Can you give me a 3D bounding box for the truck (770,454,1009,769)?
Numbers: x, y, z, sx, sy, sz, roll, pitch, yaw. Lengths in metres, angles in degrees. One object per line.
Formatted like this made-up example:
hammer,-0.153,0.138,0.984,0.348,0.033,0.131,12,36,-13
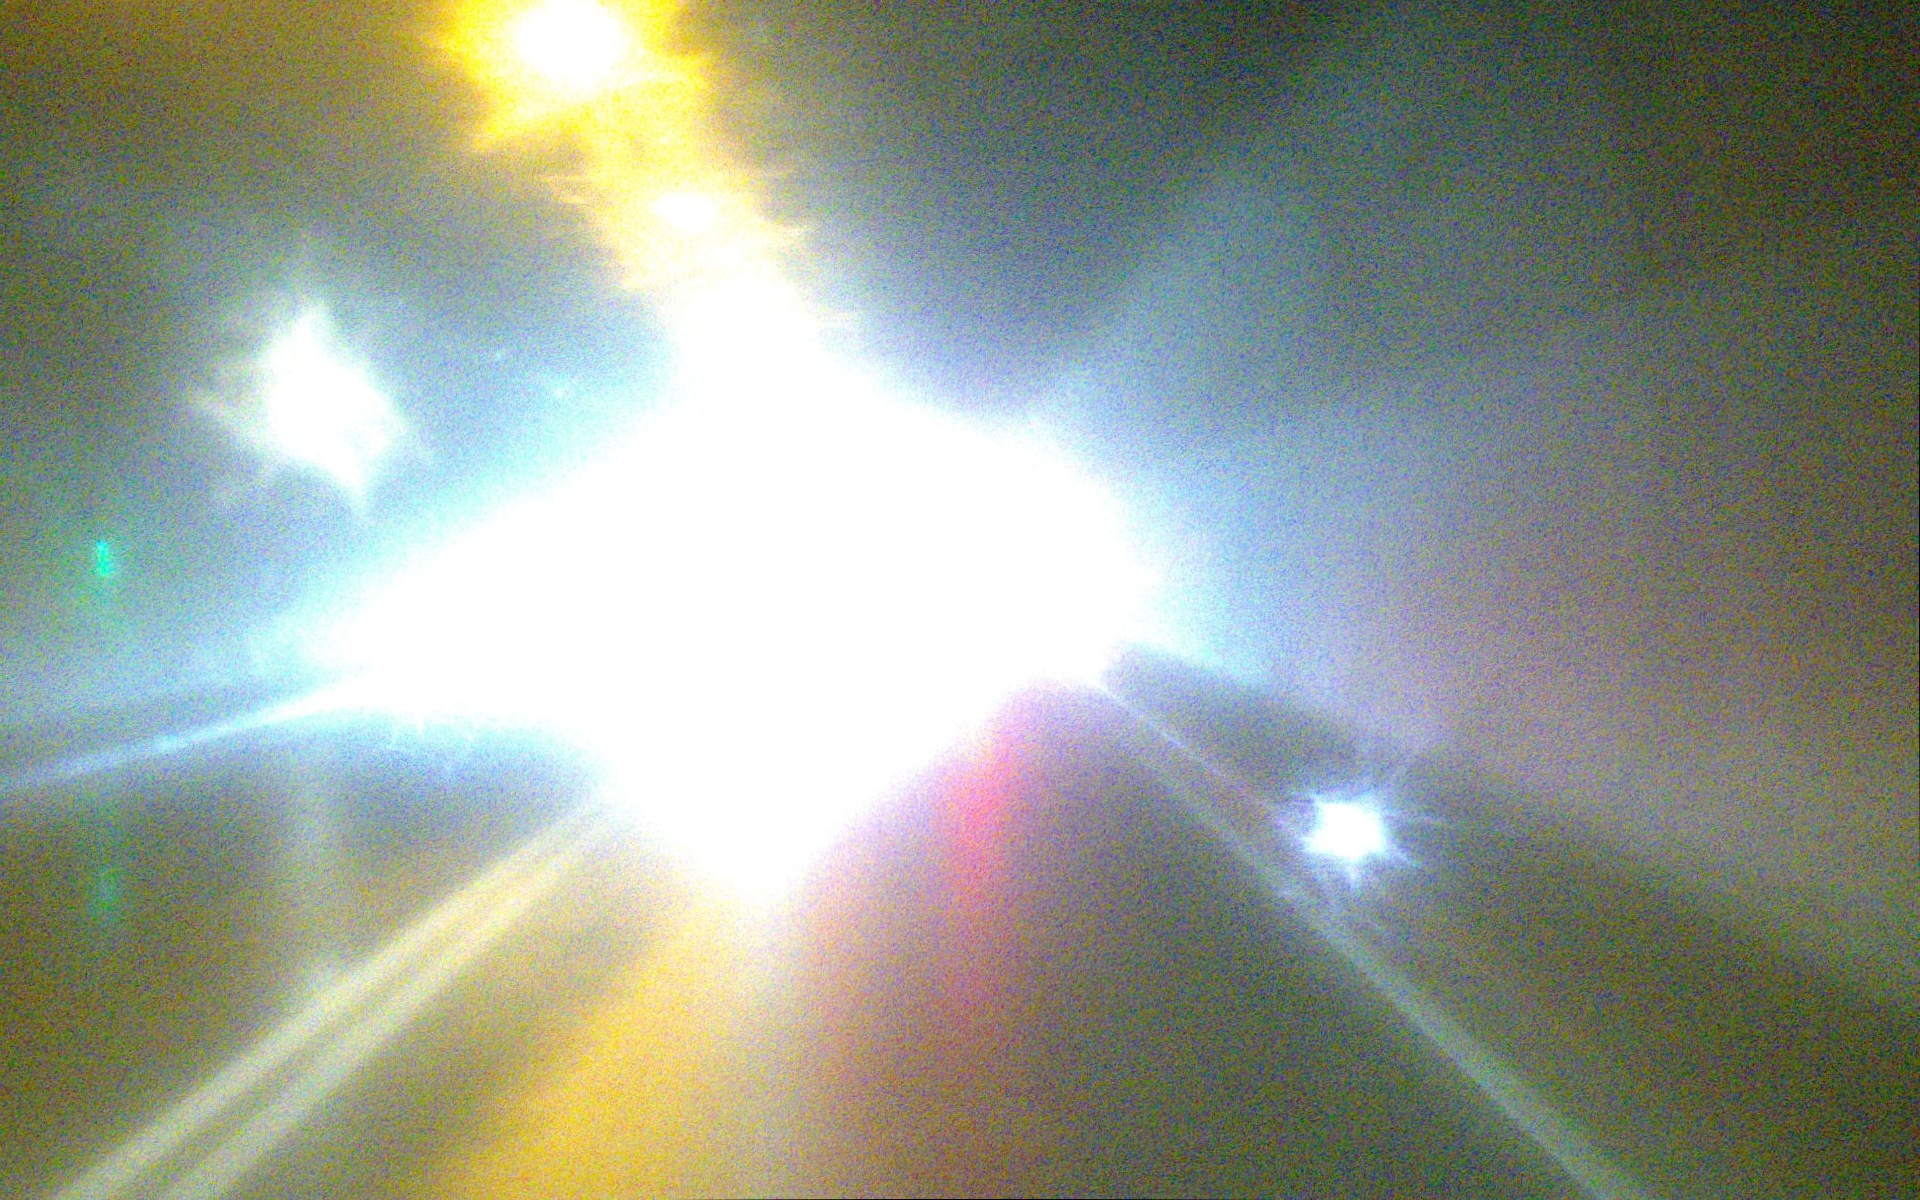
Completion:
truck,-0.724,0.077,36.819,2.262,3.001,7.415,1,1,-1
